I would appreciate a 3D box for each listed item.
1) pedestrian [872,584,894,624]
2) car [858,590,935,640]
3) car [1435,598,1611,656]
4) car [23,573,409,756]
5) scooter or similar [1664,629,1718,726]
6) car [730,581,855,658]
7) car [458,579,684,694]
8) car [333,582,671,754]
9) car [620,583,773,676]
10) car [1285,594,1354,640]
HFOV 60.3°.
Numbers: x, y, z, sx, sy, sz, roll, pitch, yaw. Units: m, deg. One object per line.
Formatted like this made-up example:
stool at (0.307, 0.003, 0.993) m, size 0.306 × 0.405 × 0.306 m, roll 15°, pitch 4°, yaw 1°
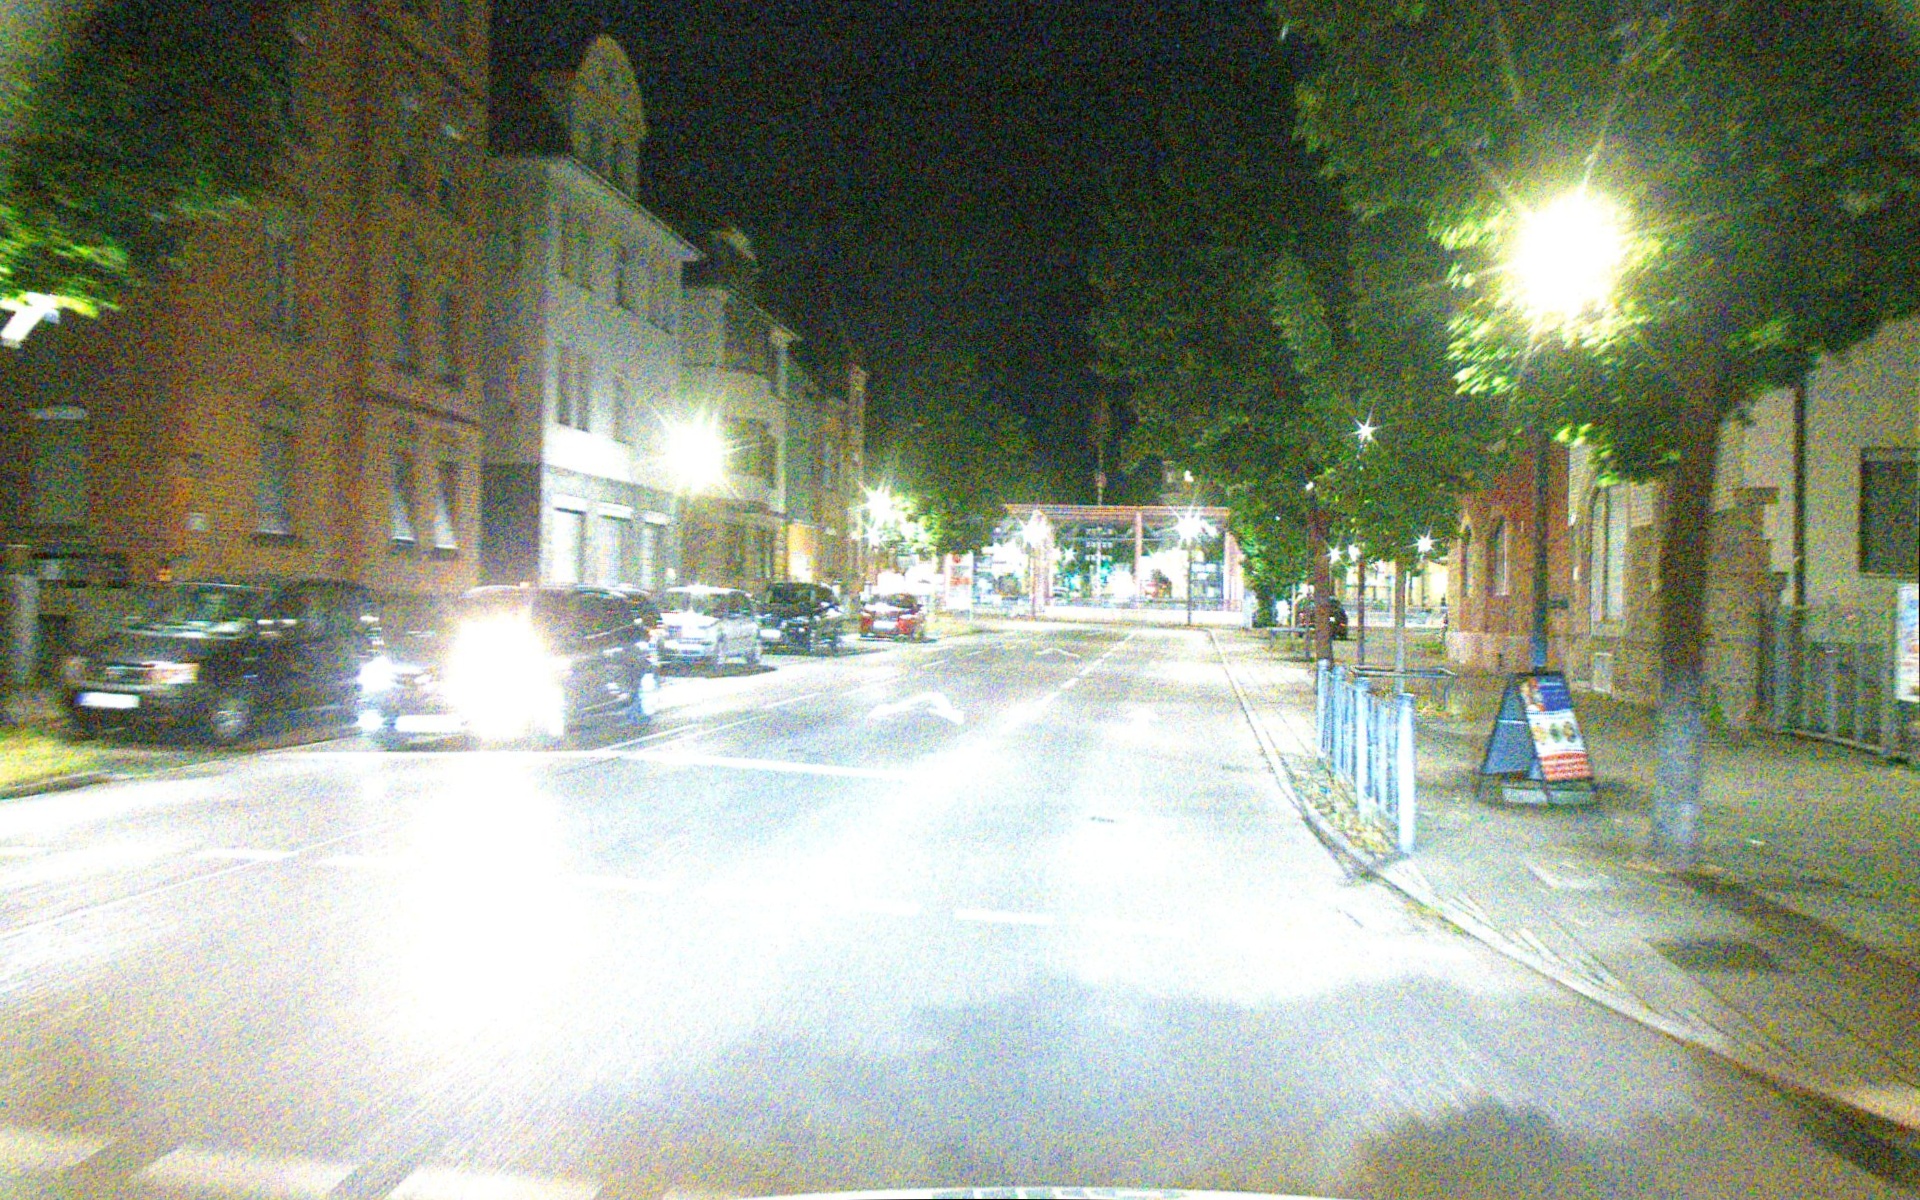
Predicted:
pedestrian at (-3.587, 0.182, 77.277) m, size 0.718 × 1.853 × 0.683 m, roll 3°, pitch -1°, yaw -38°
car at (-1.919, 0.432, 51.508) m, size 1.747 × 1.440 × 4.130 m, roll 2°, pitch 1°, yaw 6°
car at (15.110, 0.705, 44.601) m, size 4.332 × 1.485 × 1.791 m, roll 0°, pitch 1°, yaw 13°
car at (-7.219, 0.532, 16.474) m, size 1.559 × 1.517 × 3.703 m, roll 3°, pitch 2°, yaw 12°
scooter or similar at (9.262, 0.962, 20.982) m, size 0.413 × 1.150 × 1.494 m, roll 0°, pitch 0°, yaw 15°
car at (-3.866, 0.410, 38.939) m, size 1.747 × 1.609 × 4.415 m, roll 3°, pitch 1°, yaw 9°
car at (-5.832, 0.495, 25.351) m, size 1.747 × 1.517 × 4.333 m, roll 3°, pitch 1°, yaw 10°
car at (-4.268, 0.575, 16.099) m, size 1.678 × 1.454 × 4.003 m, roll -1°, pitch 0°, yaw 8°
car at (-4.840, 0.496, 30.929) m, size 1.747 × 1.517 × 4.003 m, roll 3°, pitch 1°, yaw 6°
car at (12.604, 0.567, 58.256) m, size 1.697 × 1.485 × 4.730 m, roll 1°, pitch 0°, yaw 4°
